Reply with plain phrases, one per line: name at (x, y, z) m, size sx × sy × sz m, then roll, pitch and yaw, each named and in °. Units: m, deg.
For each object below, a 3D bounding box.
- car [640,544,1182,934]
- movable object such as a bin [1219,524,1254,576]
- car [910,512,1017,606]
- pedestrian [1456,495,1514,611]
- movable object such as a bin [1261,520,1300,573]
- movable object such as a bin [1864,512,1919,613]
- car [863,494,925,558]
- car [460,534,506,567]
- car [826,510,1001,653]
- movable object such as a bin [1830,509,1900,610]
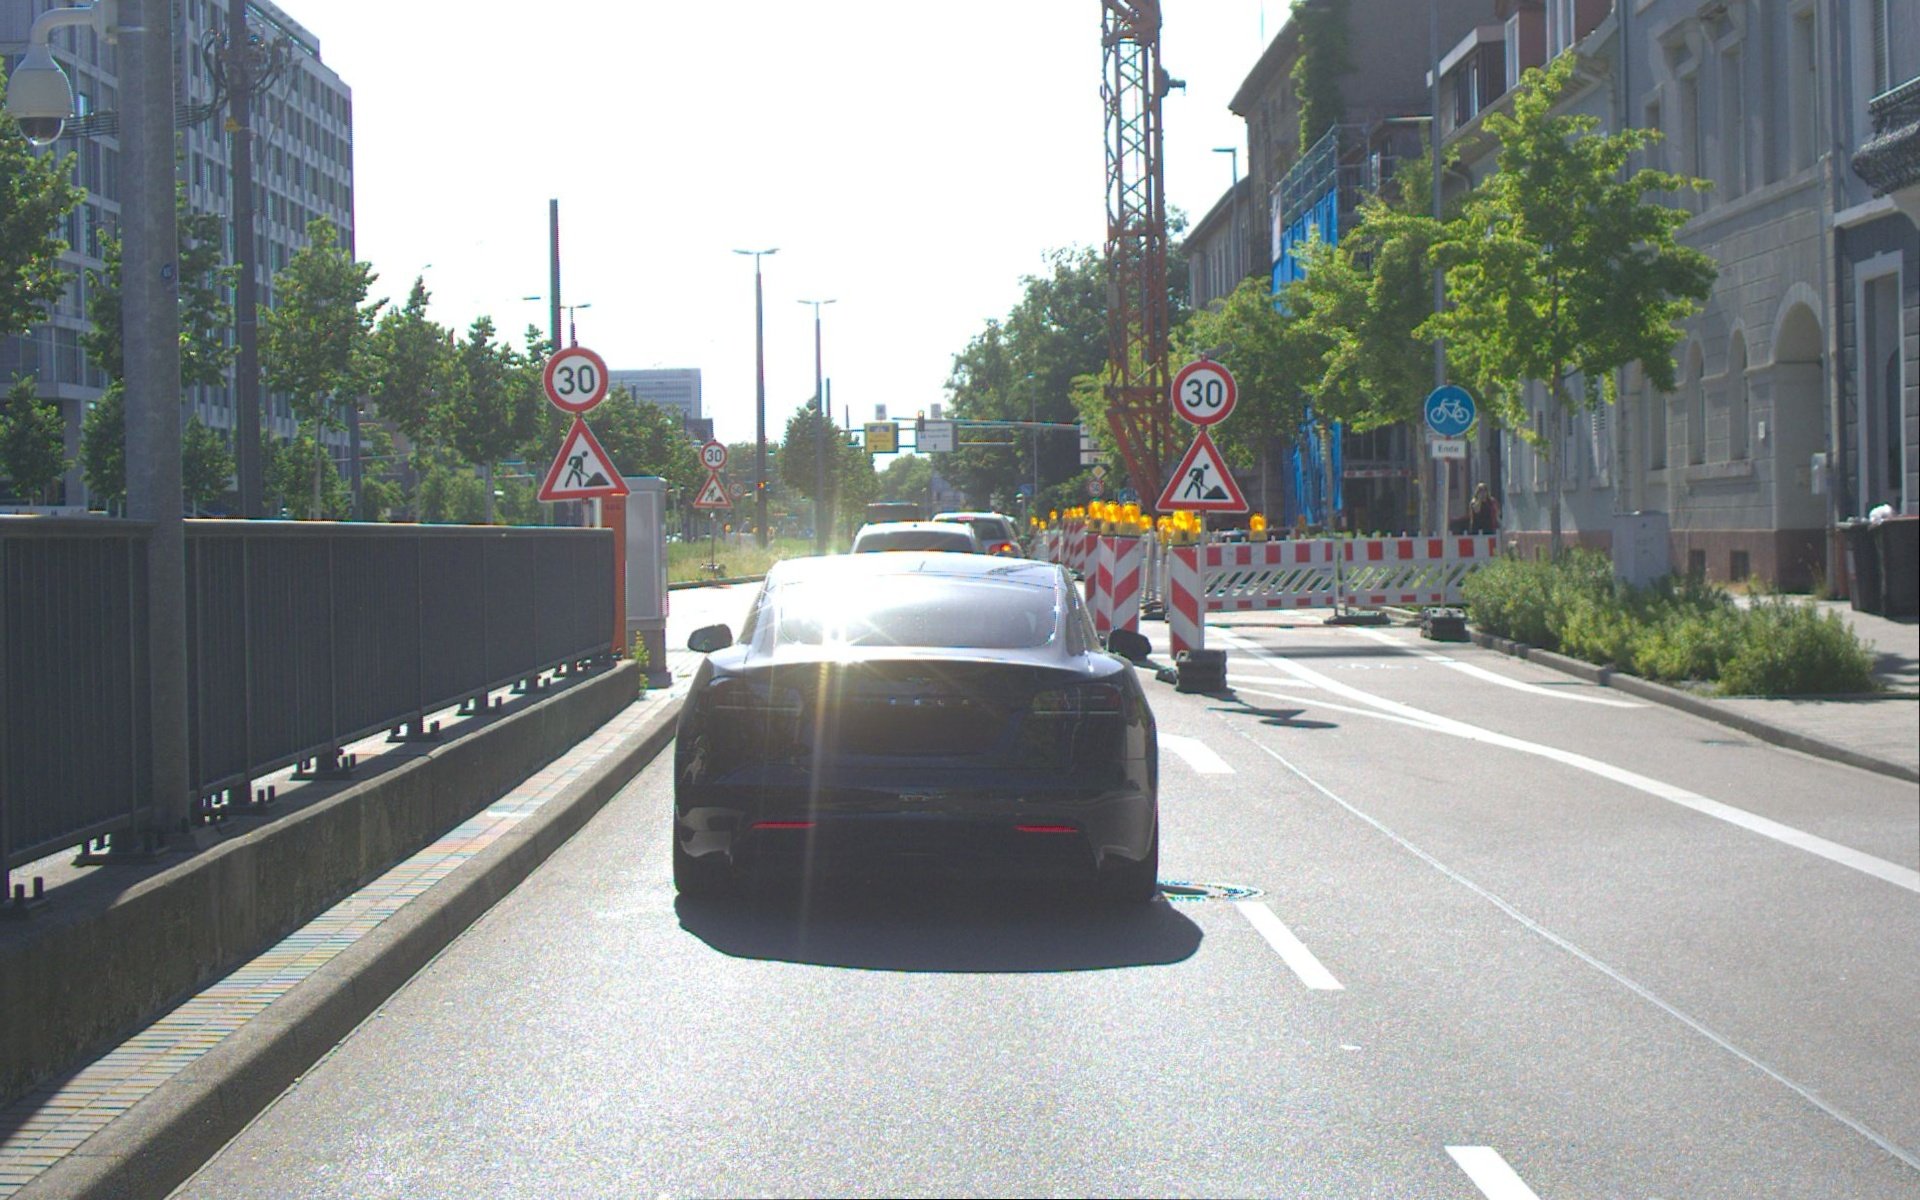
car at (-0.212, 0.493, 15.354) m, size 2.051 × 1.439 × 4.525 m, roll 0°, pitch 1°, yaw -1°
movable object such as a bin at (5.793, -1.051, 72.074) m, size 0.595 × 1.054 × 0.730 m, roll -4°, pitch 1°, yaw 1°
car at (0.073, -0.716, 58.215) m, size 1.749 × 1.522 × 4.005 m, roll 0°, pitch 1°, yaw 0°
pedestrian at (8.768, -0.789, 57.440) m, size 0.793 × 1.922 × 0.770 m, roll 0°, pitch 1°, yaw -6°
movable object such as a bin at (6.697, -1.125, 71.920) m, size 0.587 × 1.054 × 0.783 m, roll -5°, pitch 2°, yaw -4°
movable object such as a bin at (10.219, -0.415, 37.390) m, size 0.603 × 1.078 × 0.704 m, roll 0°, pitch 1°, yaw 1°
car at (-2.424, -2.721, 125.444) m, size 2.218 × 2.259 × 4.485 m, roll 0°, pitch 2°, yaw -1°
car at (-24.581, -2.562, 177.240) m, size 1.790 × 1.645 × 4.000 m, roll -1°, pitch 1°, yaw 0°
car at (-0.491, -0.244, 36.842) m, size 1.747 × 1.422 × 4.839 m, roll 0°, pitch 1°, yaw -1°
movable object such as a bin at (10.055, -0.454, 38.208) m, size 0.588 × 1.104 × 0.704 m, roll 0°, pitch 1°, yaw 1°
